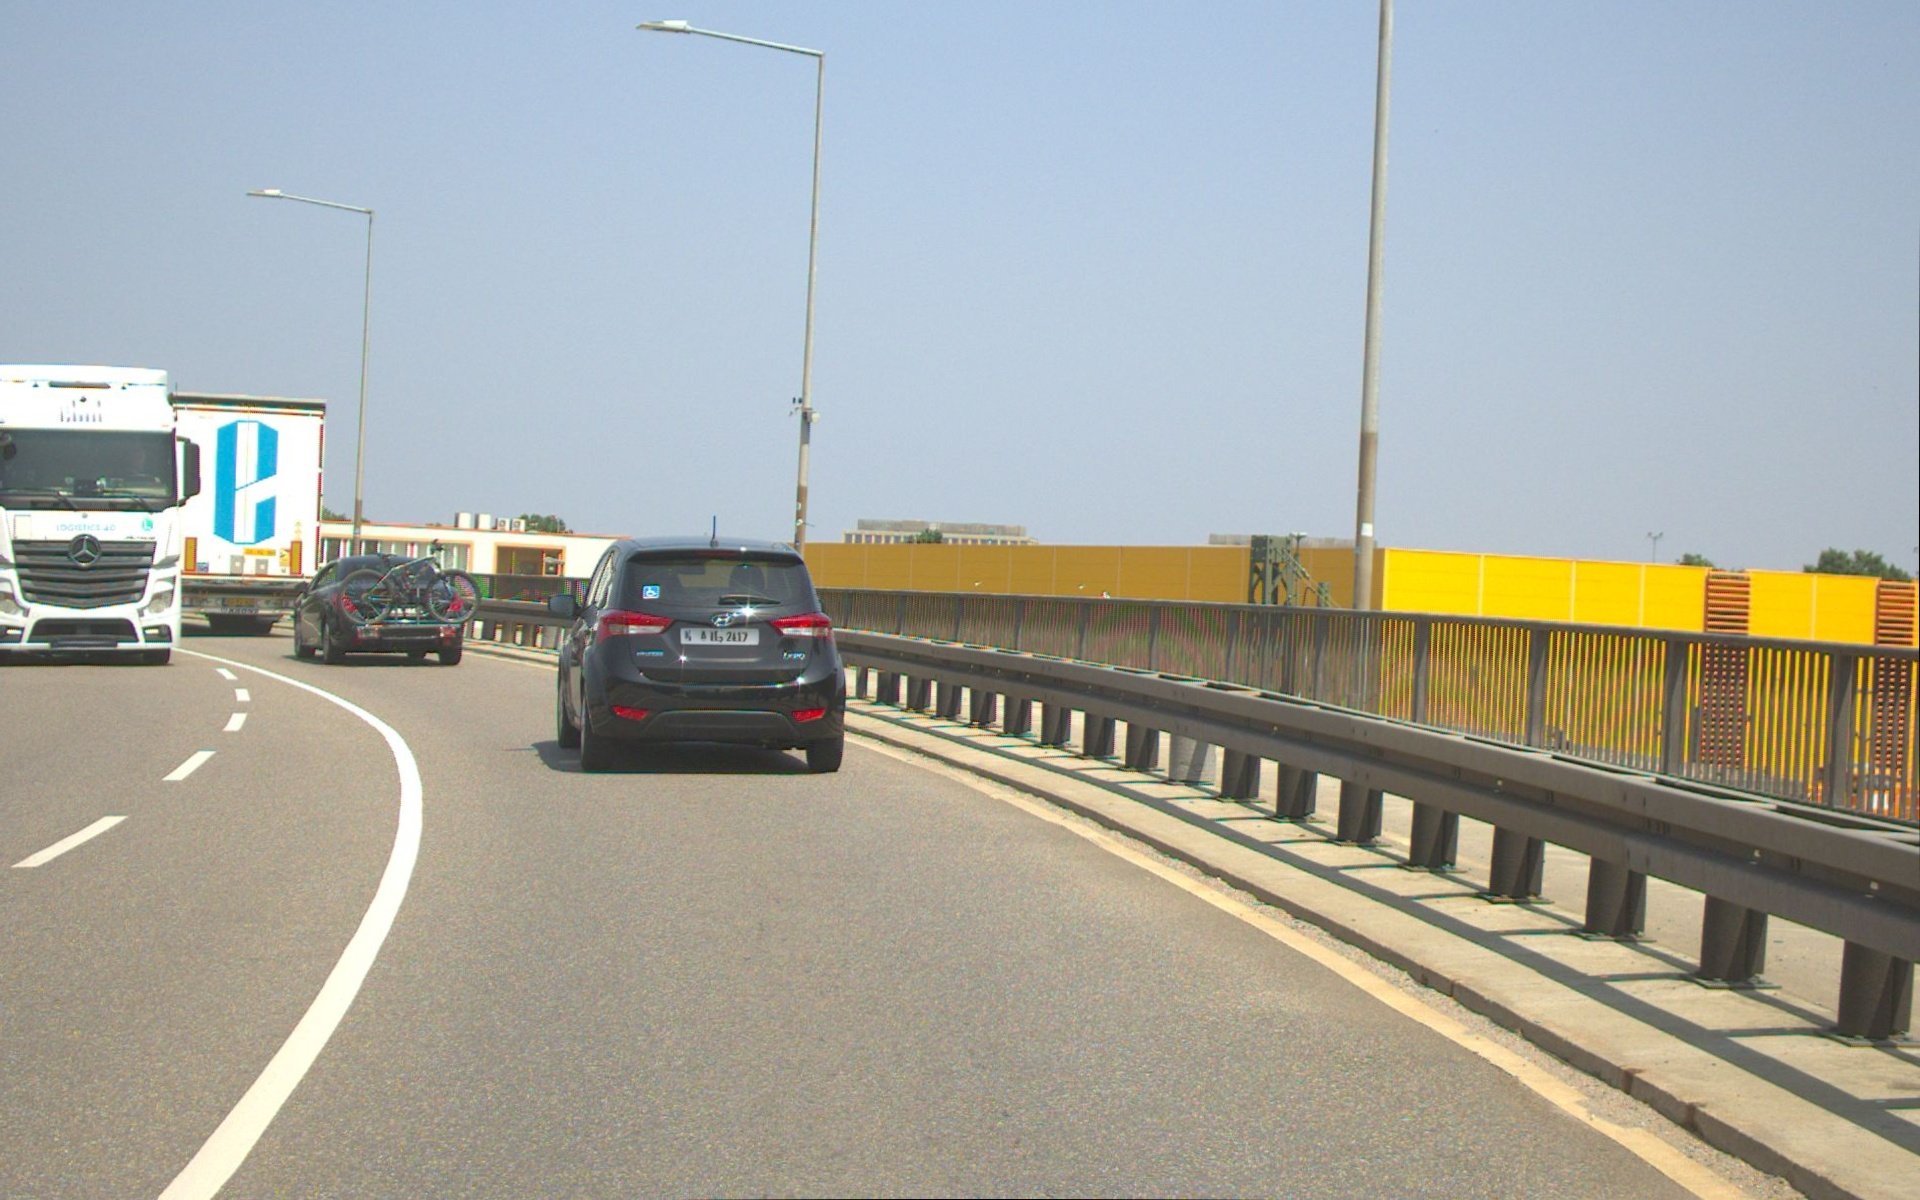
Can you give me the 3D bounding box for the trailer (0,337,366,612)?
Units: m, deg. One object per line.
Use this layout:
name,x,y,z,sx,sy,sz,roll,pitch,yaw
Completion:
trailer,-14.404,-2.223,60.999,3.569,4.369,11.442,1,2,-31

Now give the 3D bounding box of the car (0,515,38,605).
car,-16.214,-0.691,56.152,1.558,1.381,3.616,1,2,-26

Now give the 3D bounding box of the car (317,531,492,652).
car,-7.288,-0.143,44.865,2.011,1.424,3.778,1,1,-12

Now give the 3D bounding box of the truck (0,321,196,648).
truck,-11.796,-1.524,45.521,2.705,3.977,6.188,1,1,-17

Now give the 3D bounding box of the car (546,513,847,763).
car,-1.939,0.206,24.382,1.921,1.568,3.892,2,1,-7
